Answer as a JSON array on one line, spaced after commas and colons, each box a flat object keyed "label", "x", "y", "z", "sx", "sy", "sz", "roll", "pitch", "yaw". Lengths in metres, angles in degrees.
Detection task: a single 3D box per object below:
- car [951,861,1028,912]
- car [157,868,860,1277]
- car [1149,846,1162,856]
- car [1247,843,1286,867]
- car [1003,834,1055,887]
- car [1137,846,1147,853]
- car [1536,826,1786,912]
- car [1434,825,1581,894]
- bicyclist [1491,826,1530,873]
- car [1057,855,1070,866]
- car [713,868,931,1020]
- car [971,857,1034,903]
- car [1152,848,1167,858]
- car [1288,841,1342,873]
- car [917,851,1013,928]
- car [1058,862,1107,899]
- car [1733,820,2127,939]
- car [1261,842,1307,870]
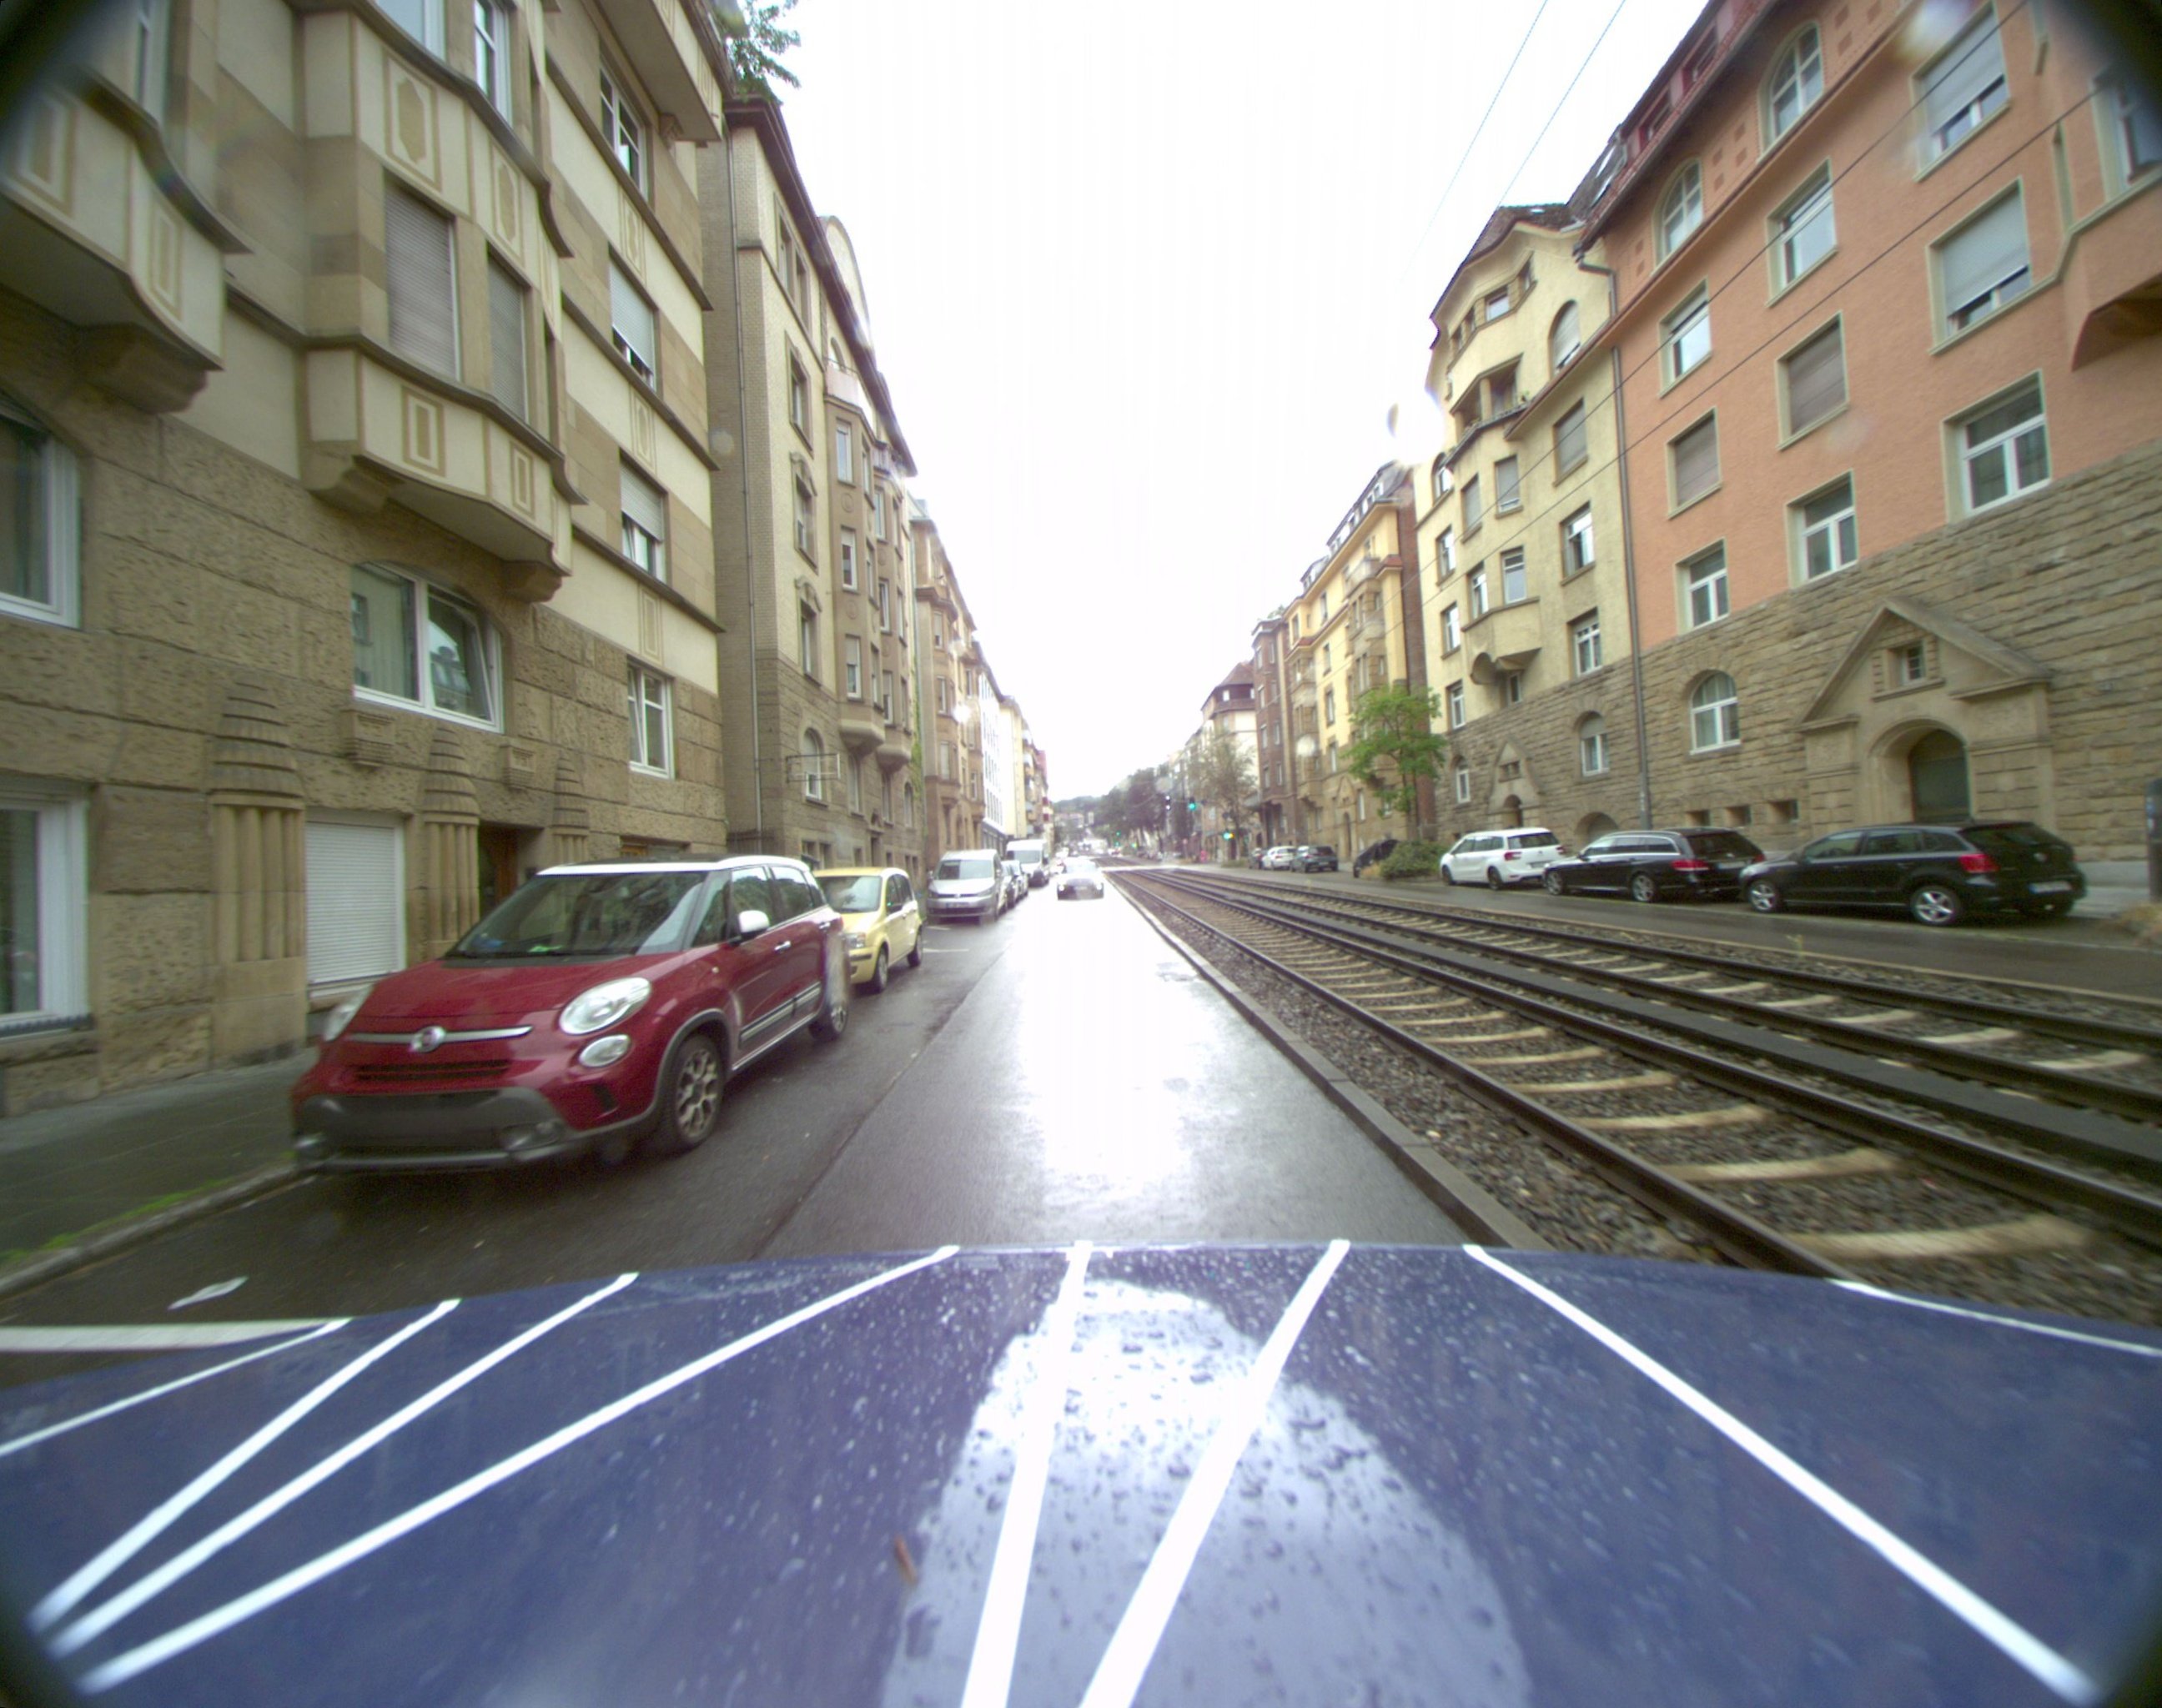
[{"label": "car", "x": -2.909, "y": 1.014, "z": 25.092, "sx": 1.931, "sy": 1.380, "sz": 3.982, "roll": -3, "pitch": 0, "yaw": 1}, {"label": "car", "x": -2.974, "y": 0.953, "z": 5.194, "sx": 1.774, "sy": 1.592, "sz": 3.999, "roll": -1, "pitch": 0, "yaw": -1}, {"label": "car", "x": 12.584, "y": -0.571, "z": 128.213, "sx": 1.794, "sy": 1.609, "sz": 4.257, "roll": -2, "pitch": 1, "yaw": 0}, {"label": "car", "x": 12.560, "y": 0.026, "z": 51.587, "sx": 1.759, "sy": 1.419, "sz": 3.712, "roll": -5, "pitch": 1, "yaw": 2}, {"label": "car", "x": -2.709, "y": 0.319, "z": 41.028, "sx": 1.991, "sy": 2.520, "sz": 6.155, "roll": -3, "pitch": 0, "yaw": 3}, {"label": "car", "x": 12.747, "y": -0.931, "z": 158.651, "sx": 1.794, "sy": 1.339, "sz": 4.257, "roll": -2, "pitch": 1, "yaw": 0}, {"label": "car", "x": 12.216, "y": 0.257, "z": 16.476, "sx": 1.760, "sy": 1.482, "sz": 4.597, "roll": -4, "pitch": 1, "yaw": -1}, {"label": "car", "x": 12.237, "y": 0.119, "z": 22.139, "sx": 1.759, "sy": 1.663, "sz": 4.259, "roll": -5, "pitch": 1, "yaw": 0}, {"label": "bicyclist", "x": 15.134, "y": -0.165, "z": 26.777, "sx": 0.894, "sy": 1.592, "sz": 0.774, "roll": -2, "pitch": 1, "yaw": 1}, {"label": "car", "x": -2.554, "y": 0.866, "z": 111.167, "sx": 1.794, "sy": 1.459, "sz": 4.257, "roll": -2, "pitch": 1, "yaw": 1}, {"label": "car", "x": -3.176, "y": 1.020, "z": 10.078, "sx": 1.632, "sy": 1.502, "sz": 3.531, "roll": -3, "pitch": 0, "yaw": -1}, {"label": "car", "x": -2.985, "y": 0.961, "z": 29.718, "sx": 1.935, "sy": 1.516, "sz": 4.058, "roll": -3, "pitch": 0, "yaw": 1}, {"label": "car", "x": 12.011, "y": -0.176, "z": 116.816, "sx": 1.794, "sy": 1.339, "sz": 4.257, "roll": -2, "pitch": 1, "yaw": 0}, {"label": "car", "x": 12.498, "y": 0.125, "z": 40.798, "sx": 1.717, "sy": 1.473, "sz": 3.712, "roll": -5, "pitch": 1, "yaw": 2}, {"label": "car", "x": -2.939, "y": 0.830, "z": 20.048, "sx": 1.811, "sy": 1.758, "sz": 3.962, "roll": -2, "pitch": 0, "yaw": 1}, {"label": "car", "x": 0.092, "y": 0.953, "z": 29.177, "sx": 1.737, "sy": 1.262, "sz": 4.258, "roll": 0, "pitch": 0, "yaw": 1}, {"label": "car", "x": 12.460, "y": 0.305, "z": 11.570, "sx": 1.760, "sy": 1.395, "sz": 3.694, "roll": -4, "pitch": 1, "yaw": -2}, {"label": "car", "x": 12.435, "y": 0.092, "z": 46.860, "sx": 1.759, "sy": 1.443, "sz": 4.043, "roll": -5, "pitch": 1, "yaw": 2}]
